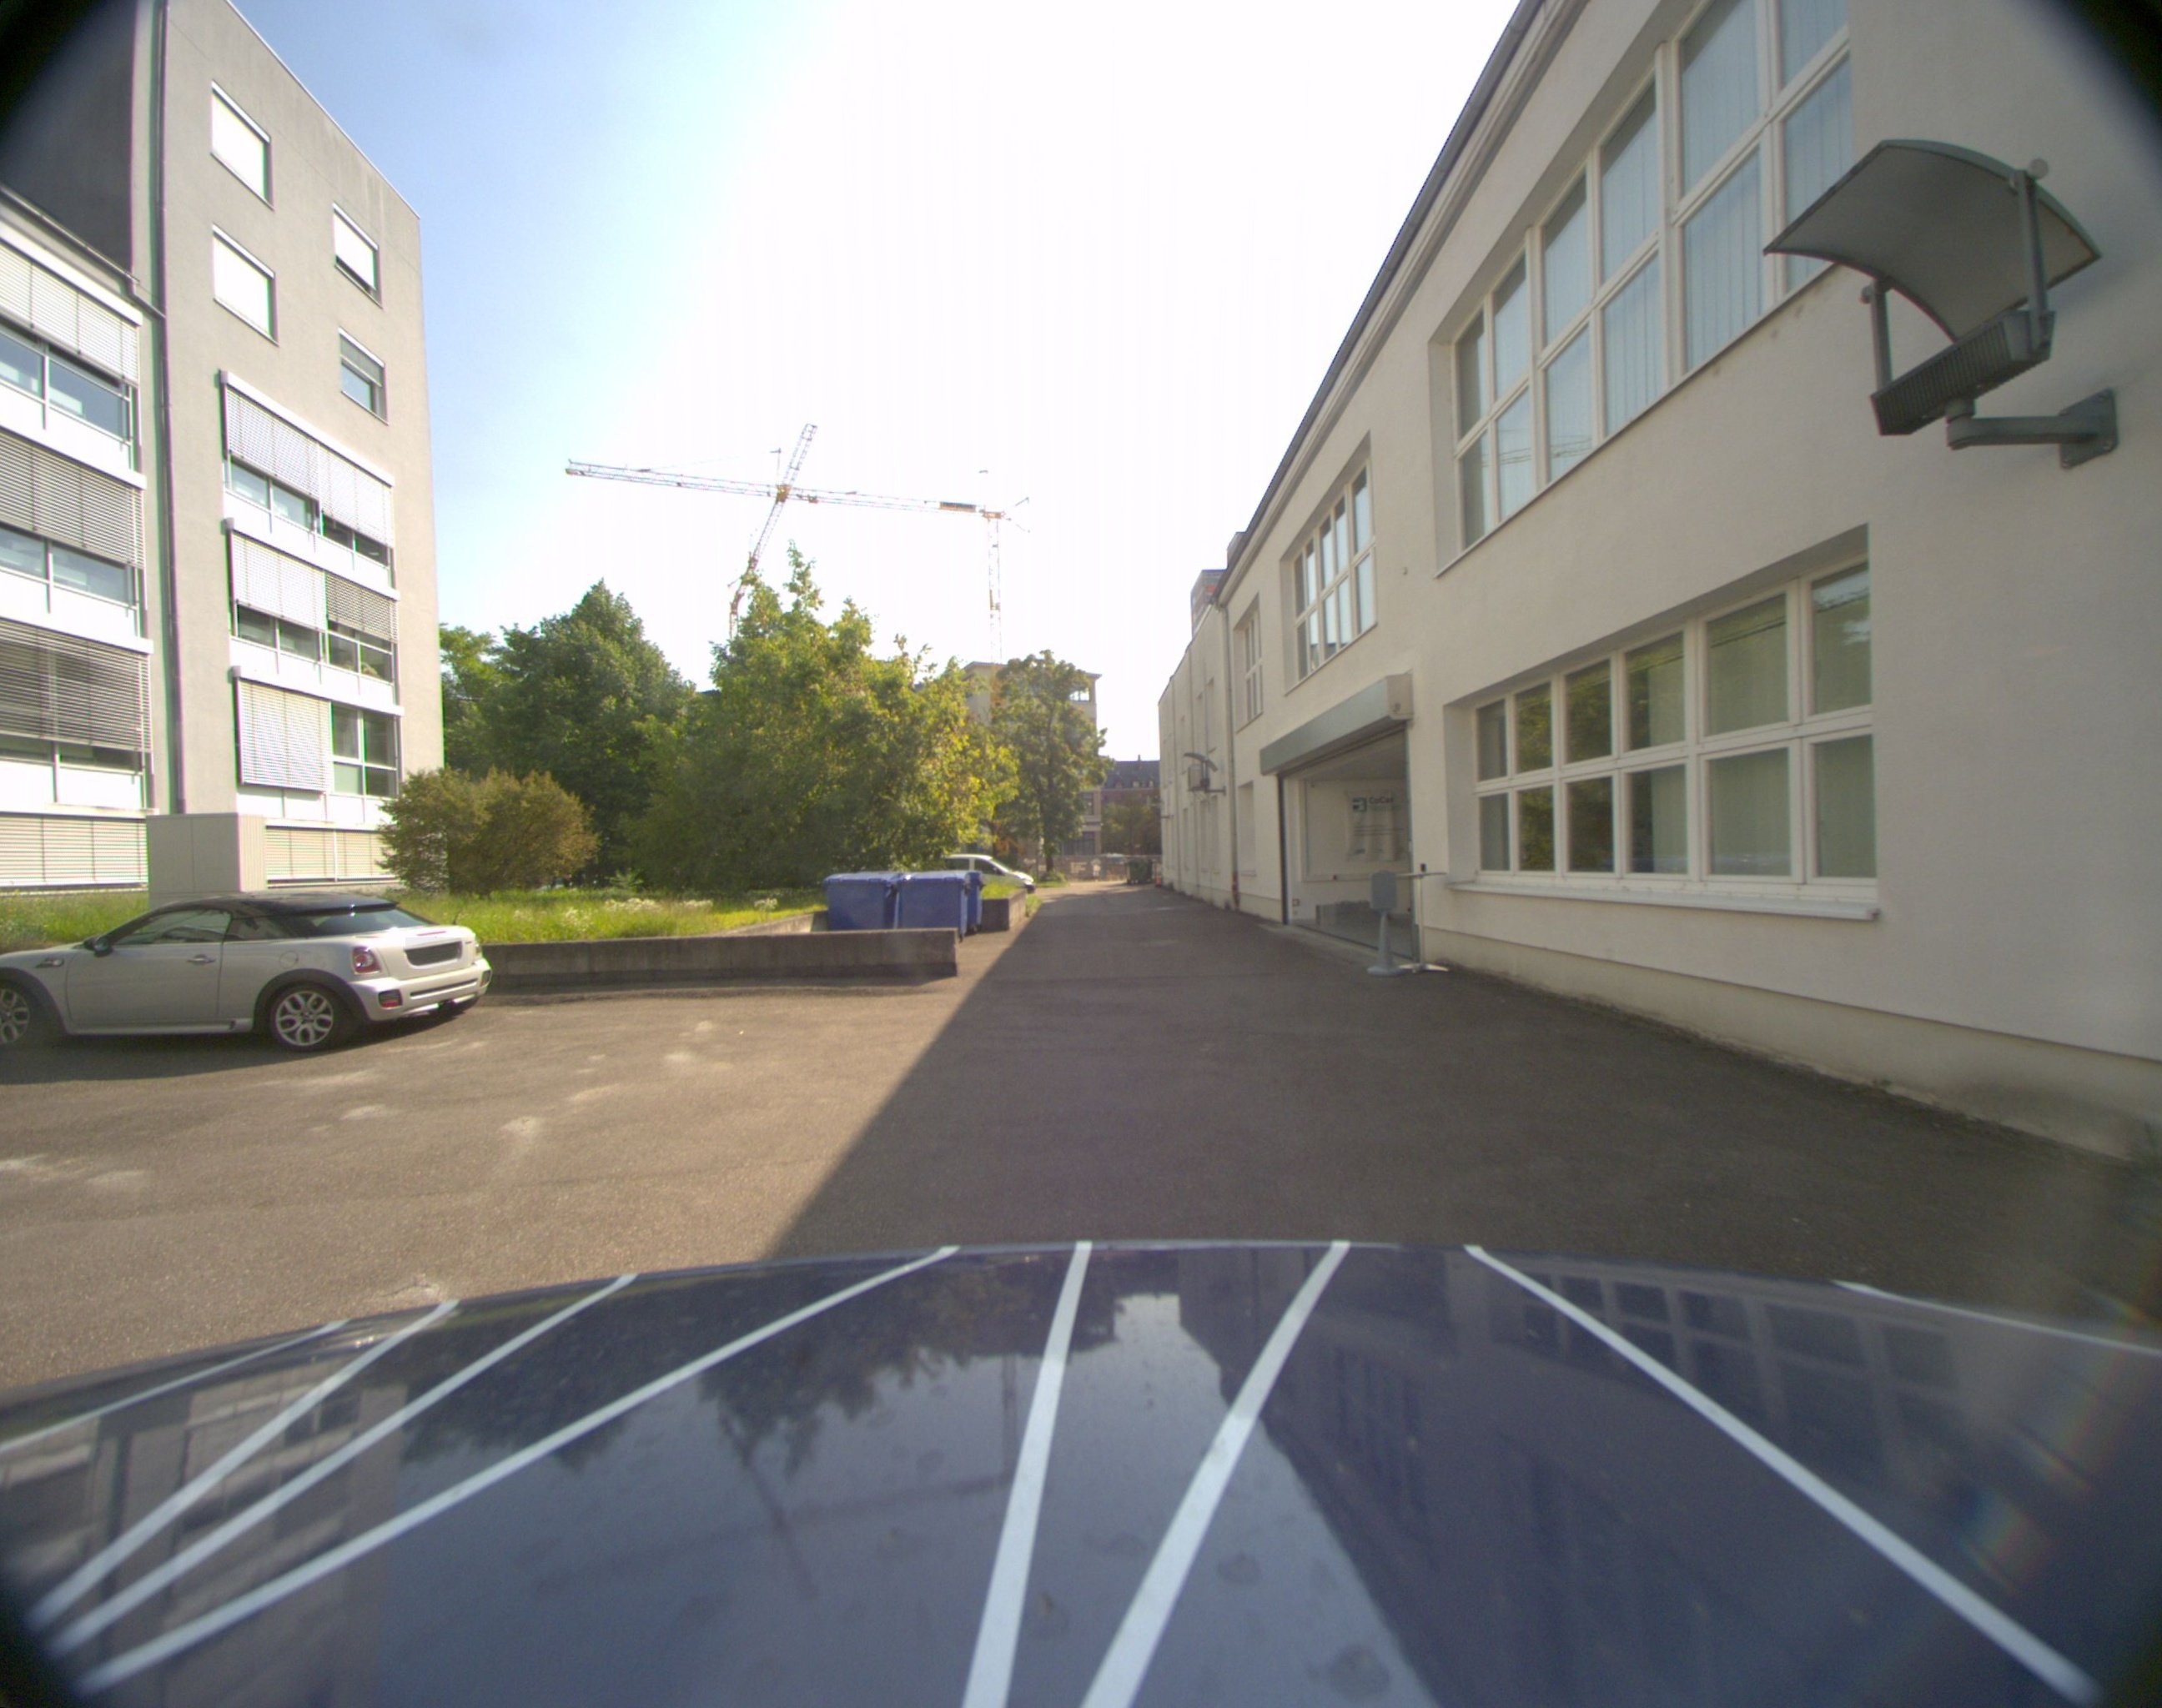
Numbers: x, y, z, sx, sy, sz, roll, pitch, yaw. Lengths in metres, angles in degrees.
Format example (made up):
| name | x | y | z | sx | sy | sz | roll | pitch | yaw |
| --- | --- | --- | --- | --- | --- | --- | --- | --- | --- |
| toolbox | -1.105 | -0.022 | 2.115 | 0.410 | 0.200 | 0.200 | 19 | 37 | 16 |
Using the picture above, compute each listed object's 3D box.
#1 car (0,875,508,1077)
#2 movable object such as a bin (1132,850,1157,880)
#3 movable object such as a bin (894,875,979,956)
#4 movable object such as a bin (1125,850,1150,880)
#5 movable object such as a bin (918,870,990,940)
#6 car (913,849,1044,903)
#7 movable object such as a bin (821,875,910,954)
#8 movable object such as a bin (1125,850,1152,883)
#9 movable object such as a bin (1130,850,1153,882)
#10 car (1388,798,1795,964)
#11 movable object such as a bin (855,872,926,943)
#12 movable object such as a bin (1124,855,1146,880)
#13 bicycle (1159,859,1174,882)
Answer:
| name | x | y | z | sx | sy | sz | roll | pitch | yaw |
| --- | --- | --- | --- | --- | --- | --- | --- | --- | --- |
| car | -8.028 | 1.063 | 7.289 | 3.629 | 1.536 | 1.802 | 2 | 1 | -2 |
| movable object such as a bin | 3.633 | 0.626 | 43.907 | 1.184 | 1.696 | 1.376 | -2 | 1 | -4 |
| movable object such as a bin | -2.647 | 1.110 | 14.106 | 1.303 | 1.333 | 1.194 | -2 | 1 | -1 |
| movable object such as a bin | 3.358 | 0.624 | 45.303 | 1.184 | 1.696 | 1.376 | -2 | 1 | -4 |
| movable object such as a bin | -2.618 | 1.041 | 15.857 | 1.313 | 1.333 | 1.100 | -2 | 1 | -3 |
| car | -4.126 | 0.875 | 31.253 | 4.969 | 1.910 | 2.044 | -3 | 1 | 2 |
| movable object such as a bin | -3.978 | 1.106 | 14.143 | 1.237 | 1.333 | 1.117 | -2 | 1 | 3 |
| movable object such as a bin | 3.052 | 0.677 | 40.695 | 1.184 | 1.696 | 1.376 | -2 | 1 | -4 |
| movable object such as a bin | 3.359 | 0.649 | 42.497 | 1.183 | 1.696 | 1.395 | -2 | 1 | 4 |
| car | 7.497 | 0.369 | 11.563 | 4.759 | 2.080 | 2.055 | -3 | 1 | 0 |
| movable object such as a bin | -3.953 | 1.091 | 15.860 | 1.230 | 1.333 | 1.076 | -2 | 1 | -5 |
| movable object such as a bin | 3.303 | 0.832 | 46.704 | 1.037 | 1.489 | 1.106 | -2 | 1 | -12 |
| bicycle | 4.743 | 0.914 | 42.235 | 0.477 | 1.206 | 2.008 | -2 | 1 | -2 |
